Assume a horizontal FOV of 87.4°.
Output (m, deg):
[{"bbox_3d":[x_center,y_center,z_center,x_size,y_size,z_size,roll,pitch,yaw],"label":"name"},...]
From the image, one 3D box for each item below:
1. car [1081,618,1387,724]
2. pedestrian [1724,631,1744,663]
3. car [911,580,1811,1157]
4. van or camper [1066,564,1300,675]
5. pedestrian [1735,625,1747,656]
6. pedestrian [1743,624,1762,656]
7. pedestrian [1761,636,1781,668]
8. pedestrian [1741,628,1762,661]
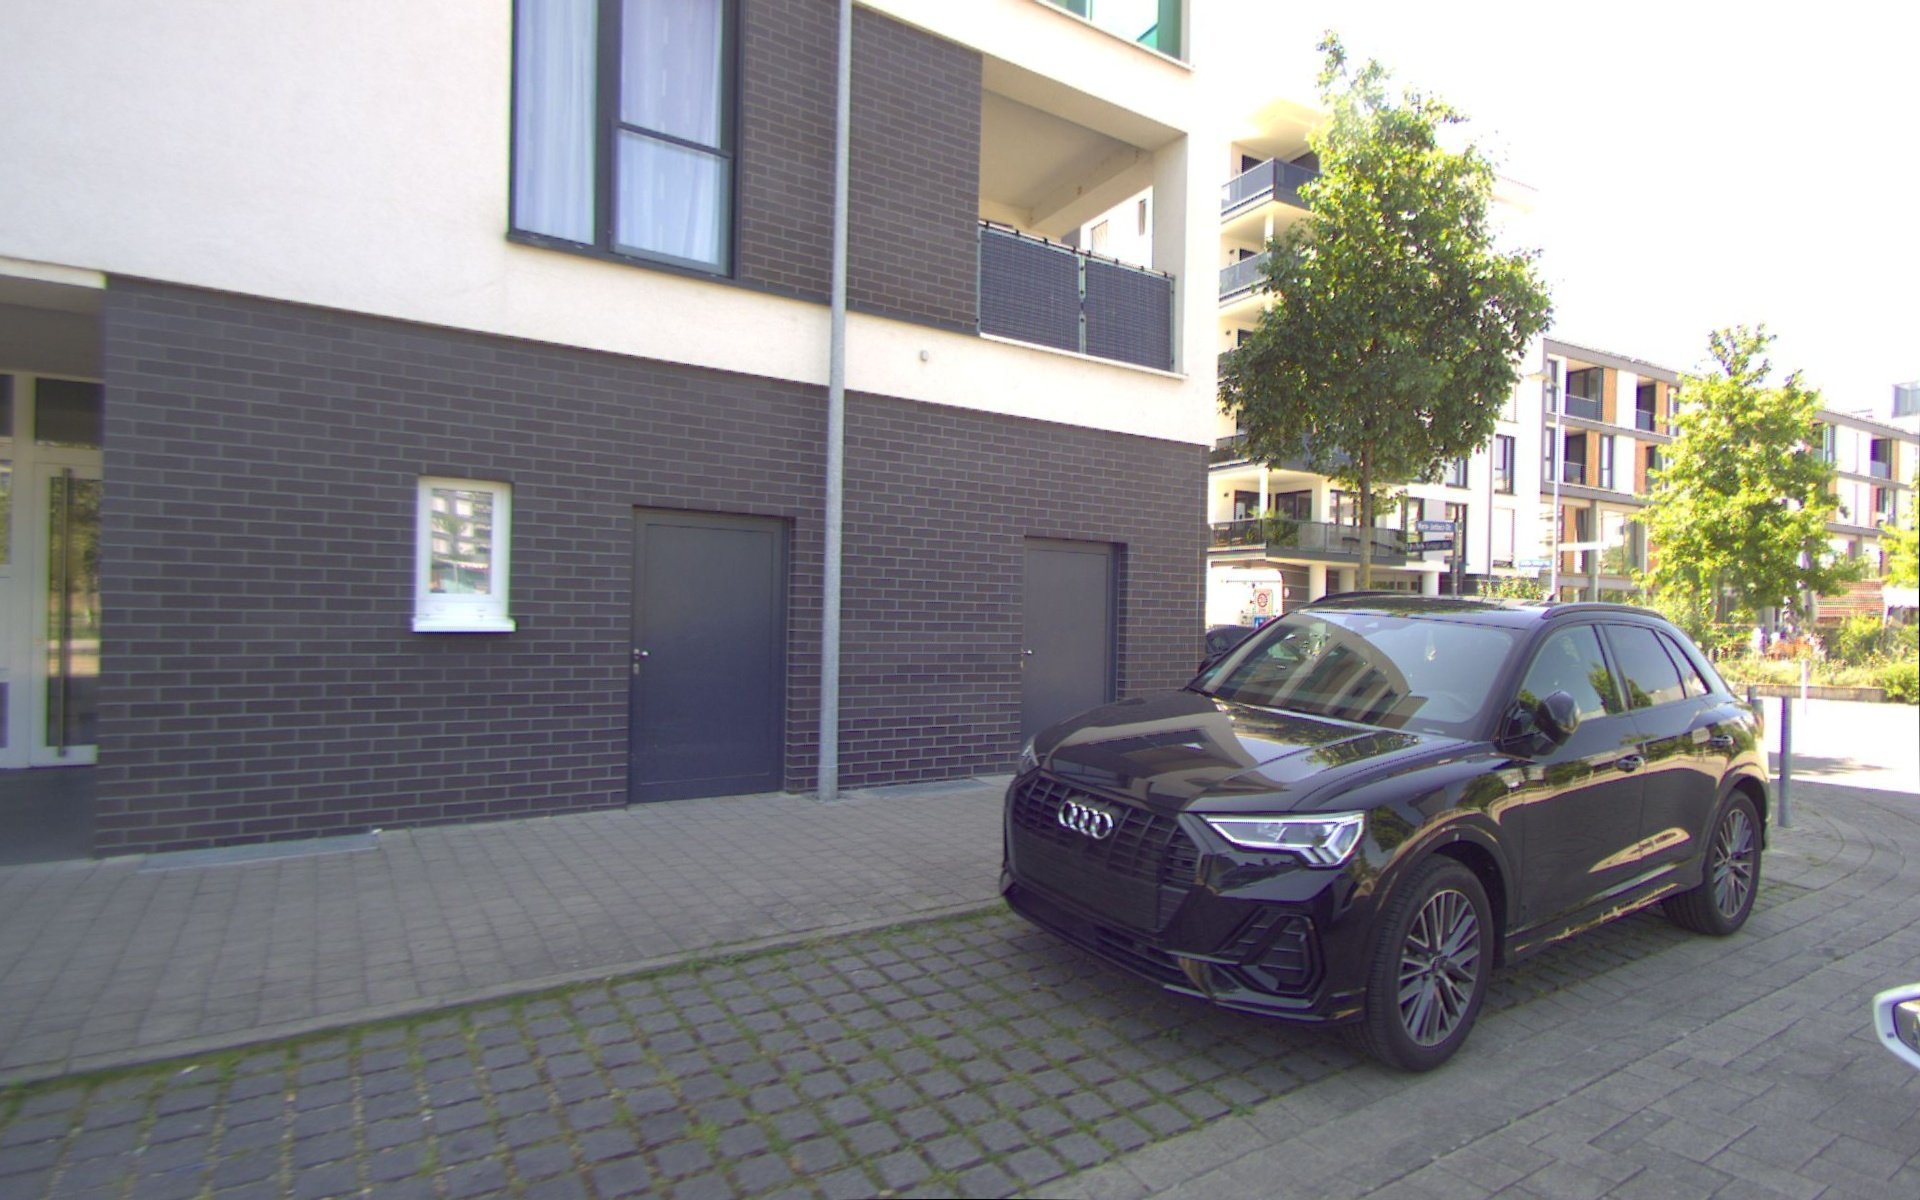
[{"bbox_3d":[4.583,1.108,16.511,5.057,1.504,1.912,2,-2,-31],"label":"car"},{"bbox_3d":[26.229,1.584,34.031,0.404,1.038,0.315,2,-1,3],"label":"pedestrian"},{"bbox_3d":[2.096,0.766,4.688,4.352,1.540,1.762,2,1,-35],"label":"car"},{"bbox_3d":[6.501,0.601,30.709,2.418,2.944,7.766,2,-2,-29],"label":"van or camper"},{"bbox_3d":[27.099,1.415,34.858,0.317,1.067,0.289,1,-1,39],"label":"pedestrian"},{"bbox_3d":[26.470,1.346,33.539,0.408,1.039,0.392,3,-1,-40],"label":"pedestrian"},{"bbox_3d":[25.513,1.625,31.586,0.286,0.984,0.386,2,0,-17],"label":"pedestrian"},{"bbox_3d":[25.102,1.413,31.863,0.404,1.038,0.282,2,-1,3],"label":"pedestrian"}]
